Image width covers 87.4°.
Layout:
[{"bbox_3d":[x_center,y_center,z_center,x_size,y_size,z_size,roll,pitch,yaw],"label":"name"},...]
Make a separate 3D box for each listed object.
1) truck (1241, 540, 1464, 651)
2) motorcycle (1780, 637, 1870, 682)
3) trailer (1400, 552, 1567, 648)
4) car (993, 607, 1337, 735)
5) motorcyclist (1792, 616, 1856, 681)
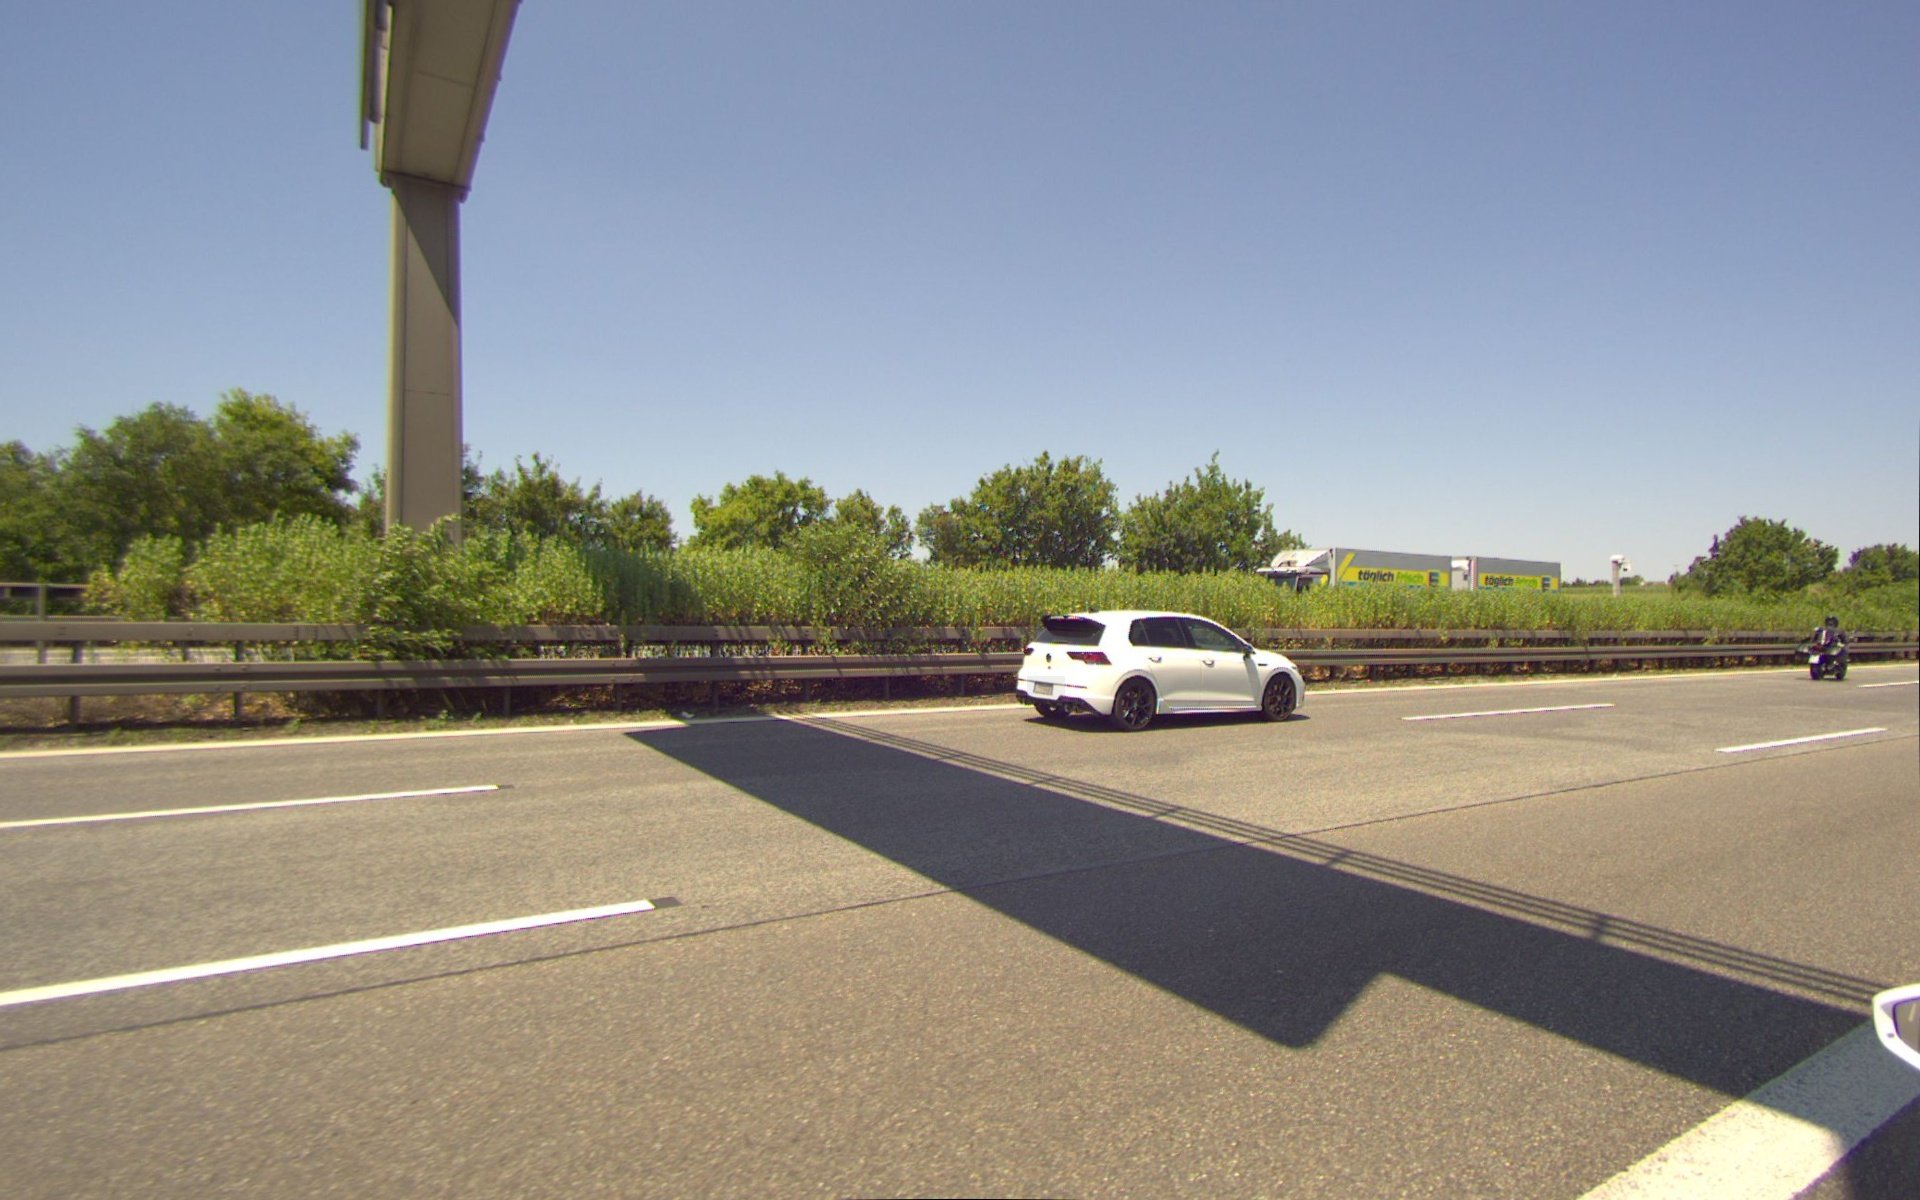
[{"bbox_3d":[15.970,-0.086,40.445,10.210,4.020,2.984,1,0,-33],"label":"truck"},{"bbox_3d":[22.279,1.506,25.863,2.816,1.103,0.908,1,-1,-31],"label":"motorcycle"},{"bbox_3d":[23.871,0.064,45.618,8.566,4.020,2.906,1,0,-33],"label":"trailer"},{"bbox_3d":[2.833,0.866,13.438,4.618,1.459,1.772,1,-1,-33],"label":"car"},{"bbox_3d":[22.259,1.241,25.867,1.284,1.618,0.889,1,-1,-30],"label":"motorcyclist"}]
